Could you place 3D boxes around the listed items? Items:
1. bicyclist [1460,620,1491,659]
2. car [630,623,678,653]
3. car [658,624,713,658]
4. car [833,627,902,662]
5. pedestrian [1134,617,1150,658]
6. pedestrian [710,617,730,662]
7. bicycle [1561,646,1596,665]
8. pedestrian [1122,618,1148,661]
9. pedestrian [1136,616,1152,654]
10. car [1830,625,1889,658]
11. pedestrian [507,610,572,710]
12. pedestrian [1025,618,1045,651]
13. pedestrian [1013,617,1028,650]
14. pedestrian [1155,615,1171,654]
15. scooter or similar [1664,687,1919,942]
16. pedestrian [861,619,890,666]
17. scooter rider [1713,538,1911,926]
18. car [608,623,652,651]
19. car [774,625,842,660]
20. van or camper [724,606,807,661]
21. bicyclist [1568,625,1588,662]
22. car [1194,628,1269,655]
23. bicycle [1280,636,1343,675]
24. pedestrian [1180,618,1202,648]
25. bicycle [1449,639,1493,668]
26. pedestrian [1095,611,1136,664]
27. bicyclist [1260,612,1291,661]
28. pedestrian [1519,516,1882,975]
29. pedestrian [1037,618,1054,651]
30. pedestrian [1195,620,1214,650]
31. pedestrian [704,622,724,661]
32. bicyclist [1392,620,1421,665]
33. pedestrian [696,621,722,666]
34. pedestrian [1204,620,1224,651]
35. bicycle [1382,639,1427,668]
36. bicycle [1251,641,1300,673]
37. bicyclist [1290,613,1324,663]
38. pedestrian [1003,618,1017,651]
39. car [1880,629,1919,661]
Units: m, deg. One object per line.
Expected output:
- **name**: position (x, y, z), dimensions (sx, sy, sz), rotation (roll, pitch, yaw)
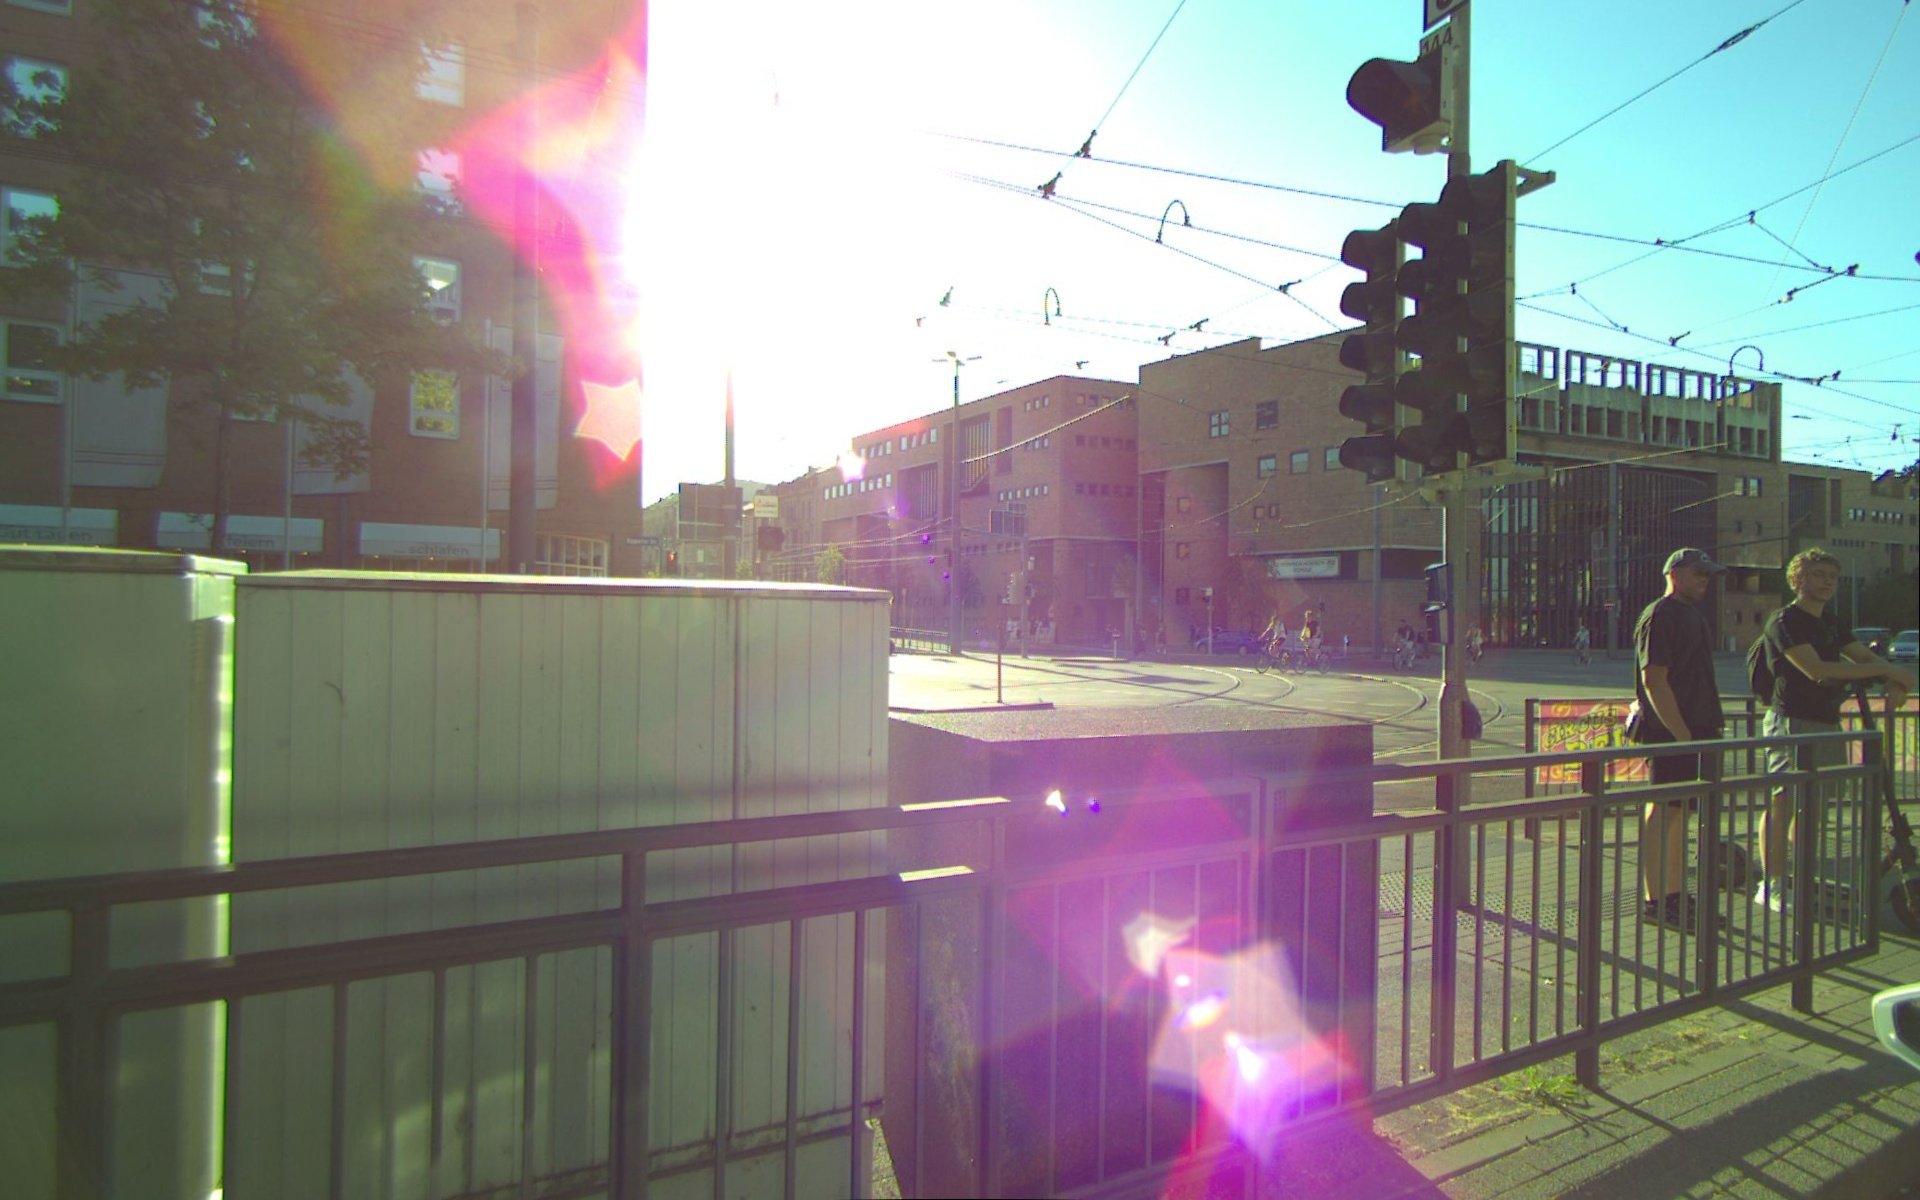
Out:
- **bicyclist**: position (20.213, 1.554, 39.386), dimensions (1.022, 1.494, 0.649), rotation (2, -1, -35)
- **car**: position (-18.264, 2.237, 59.917), dimensions (1.738, 1.750, 3.965), rotation (1, -2, -32)
- **car**: position (-14.985, 2.207, 54.668), dimensions (1.739, 1.750, 3.963), rotation (1, -2, -33)
- **car**: position (-4.805, 2.243, 51.806), dimensions (1.978, 1.709, 3.965), rotation (1, -2, -33)
- **pedestrian**: position (9.264, 1.902, 51.150), dimensions (0.603, 2.040, 0.731), rotation (0, -1, 30)
- **pedestrian**: position (-10.891, 1.786, 45.622), dimensions (0.597, 2.040, 0.848), rotation (1, -1, -38)
- **bicycle**: position (27.379, 2.440, 44.485), dimensions (1.948, 0.781, 0.586), rotation (1, -2, -35)
- **pedestrian**: position (8.034, 1.800, 46.039), dimensions (0.866, 1.927, 0.718), rotation (2, 0, -33)
- **pedestrian**: position (9.788, 1.864, 53.472), dimensions (0.603, 2.040, 0.731), rotation (0, -1, 30)
- **car**: position (52.975, 2.430, 59.121), dimensions (3.964, 1.786, 1.854), rotation (1, 0, -37)
- **pedestrian**: position (-8.026, 1.113, 19.142), dimensions (0.947, 1.822, 0.984), rotation (2, 0, -33)
- **pedestrian**: position (4.581, 2.100, 61.590), dimensions (0.917, 2.010, 0.780), rotation (1, -1, -32)
- **pedestrian**: position (3.841, 2.109, 63.541), dimensions (0.644, 2.040, 0.780), rotation (1, -1, -32)
- **pedestrian**: position (10.751, 1.842, 53.256), dimensions (0.603, 2.040, 0.731), rotation (0, -1, 30)
- **scooter or similar**: position (4.493, 1.043, 5.234), dimensions (0.639, 1.095, 1.199), rotation (1, -1, -25)
- **pedestrian**: position (-3.243, 1.624, 38.462), dimensions (0.860, 1.775, 0.670), rotation (1, -2, -39)
- **scooter rider**: position (4.460, 0.655, 5.269), dimensions (0.670, 1.877, 0.564), rotation (3, -2, -25)
- **car**: position (-21.295, 2.353, 64.725), dimensions (1.738, 1.750, 3.965), rotation (1, -2, -32)
- **car**: position (-7.795, 2.149, 51.182), dimensions (1.978, 1.709, 3.965), rotation (1, -2, -33)
- **van or camper**: position (-9.360, 1.573, 47.973), dimensions (1.981, 2.451, 4.980), rotation (1, -2, -36)
- **bicyclist**: position (27.378, 1.927, 44.493), dimensions (0.509, 1.647, 0.583), rotation (1, -1, -34)
- **car**: position (14.715, 2.245, 54.515), dimensions (3.664, 1.394, 1.577), rotation (-1, -2, 43)
- **bicycle**: position (11.378, 1.778, 32.502), dimensions (2.084, 1.157, 0.682), rotation (-1, 0, -29)
- **pedestrian**: position (15.814, 2.272, 68.804), dimensions (0.902, 2.040, 1.151), rotation (1, -1, -34)
- **bicycle**: position (19.964, 2.079, 39.231), dimensions (1.993, 1.064, 0.647), rotation (2, -1, -35)
- **pedestrian**: position (6.166, 1.464, 39.822), dimensions (1.193, 2.040, 1.028), rotation (2, 0, -30)
- **bicyclist**: position (10.412, 1.207, 33.166), dimensions (0.752, 1.595, 0.655), rotation (1, -2, -38)
- **pedestrian**: position (3.548, 0.624, 4.903), dimensions (0.843, 1.908, 1.164), rotation (1, -1, -25)
- **pedestrian**: position (5.282, 2.124, 62.078), dimensions (0.742, 2.010, 0.780), rotation (1, -1, -32)
- **pedestrian**: position (16.912, 2.423, 69.557), dimensions (0.841, 2.079, 1.001), rotation (1, -1, -32)
- **pedestrian**: position (-11.667, 1.970, 47.677), dimensions (0.597, 1.843, 0.848), rotation (1, -1, -38)
- **bicyclist**: position (16.143, 1.525, 36.311), dimensions (0.752, 1.590, 0.656), rotation (1, -2, -37)
- **pedestrian**: position (-10.086, 1.730, 40.354), dimensions (0.857, 1.775, 0.672), rotation (1, -1, -30)
- **pedestrian**: position (17.330, 2.407, 68.512), dimensions (0.841, 2.079, 1.001), rotation (1, -1, -32)
- **bicycle**: position (16.052, 1.926, 36.249), dimensions (1.884, 1.011, 0.688), rotation (1, -2, -37)
- **bicycle**: position (10.419, 1.863, 33.158), dimensions (1.885, 1.011, 0.647), rotation (2, -2, -39)
- **bicyclist**: position (11.189, 1.218, 32.414), dimensions (0.749, 1.581, 0.679), rotation (-1, 0, -28)
- **pedestrian**: position (3.151, 2.180, 63.573), dimensions (0.607, 2.040, 0.727), rotation (1, -1, -32)
- **car**: position (48.936, 2.286, 51.712), dimensions (3.962, 1.598, 1.610), rotation (1, -2, -36)
